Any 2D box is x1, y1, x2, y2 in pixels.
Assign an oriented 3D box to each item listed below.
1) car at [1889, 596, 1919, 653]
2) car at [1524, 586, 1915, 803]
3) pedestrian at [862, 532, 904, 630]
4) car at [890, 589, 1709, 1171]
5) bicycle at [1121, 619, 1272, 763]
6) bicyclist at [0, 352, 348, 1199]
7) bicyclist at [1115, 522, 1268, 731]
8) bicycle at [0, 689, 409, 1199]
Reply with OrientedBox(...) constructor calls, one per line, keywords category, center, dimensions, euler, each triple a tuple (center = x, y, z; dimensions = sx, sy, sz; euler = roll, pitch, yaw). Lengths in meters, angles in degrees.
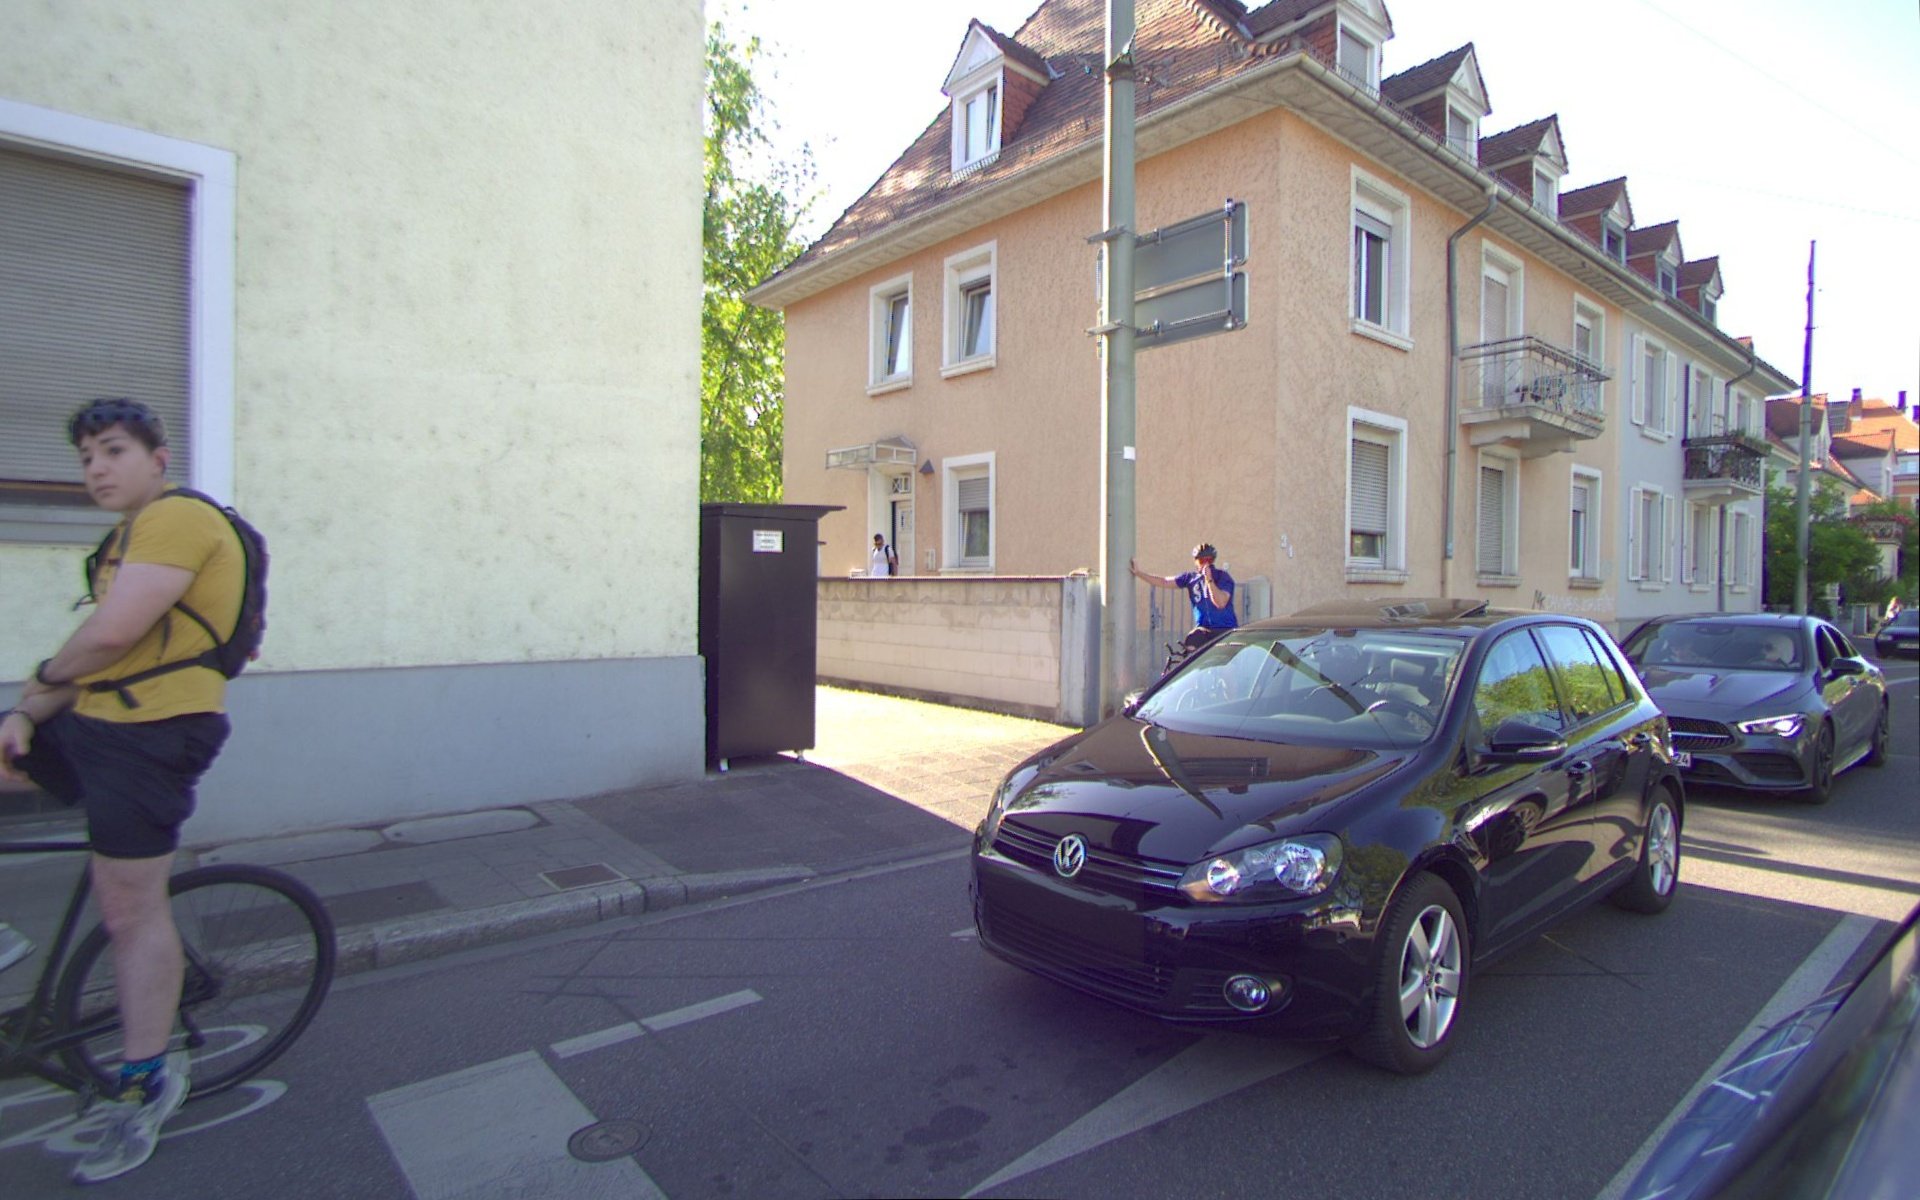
OrientedBox(category="car", center=(26.763, 0.634, 27.432), dimensions=(4.258, 1.448, 1.824), euler=(-1, 0, -40))
OrientedBox(category="car", center=(6.829, 0.650, 8.910), dimensions=(4.410, 1.449, 1.824), euler=(1, 0, -40))
OrientedBox(category="pedestrian", center=(-1.355, -0.346, 17.681), dimensions=(0.598, 1.624, 0.763), euler=(3, 5, -8))
OrientedBox(category="car", center=(1.765, 0.690, 4.500), dimensions=(3.921, 1.456, 1.716), euler=(-1, 0, -41))
OrientedBox(category="bicycle", center=(2.138, 0.759, 9.028), dimensions=(0.554, 1.088, 1.601), euler=(6, 4, 42))
OrientedBox(category="bicyclist", center=(-2.265, 0.437, 2.765), dimensions=(0.777, 1.991, 0.768), euler=(0, 0, 36))
OrientedBox(category="bicyclist", center=(2.072, 0.198, 9.085), dimensions=(1.018, 1.714, 0.718), euler=(6, 4, 42))
OrientedBox(category="bicycle", center=(-2.467, 0.872, 2.564), dimensions=(0.777, 1.120, 1.720), euler=(0, 0, 36))
